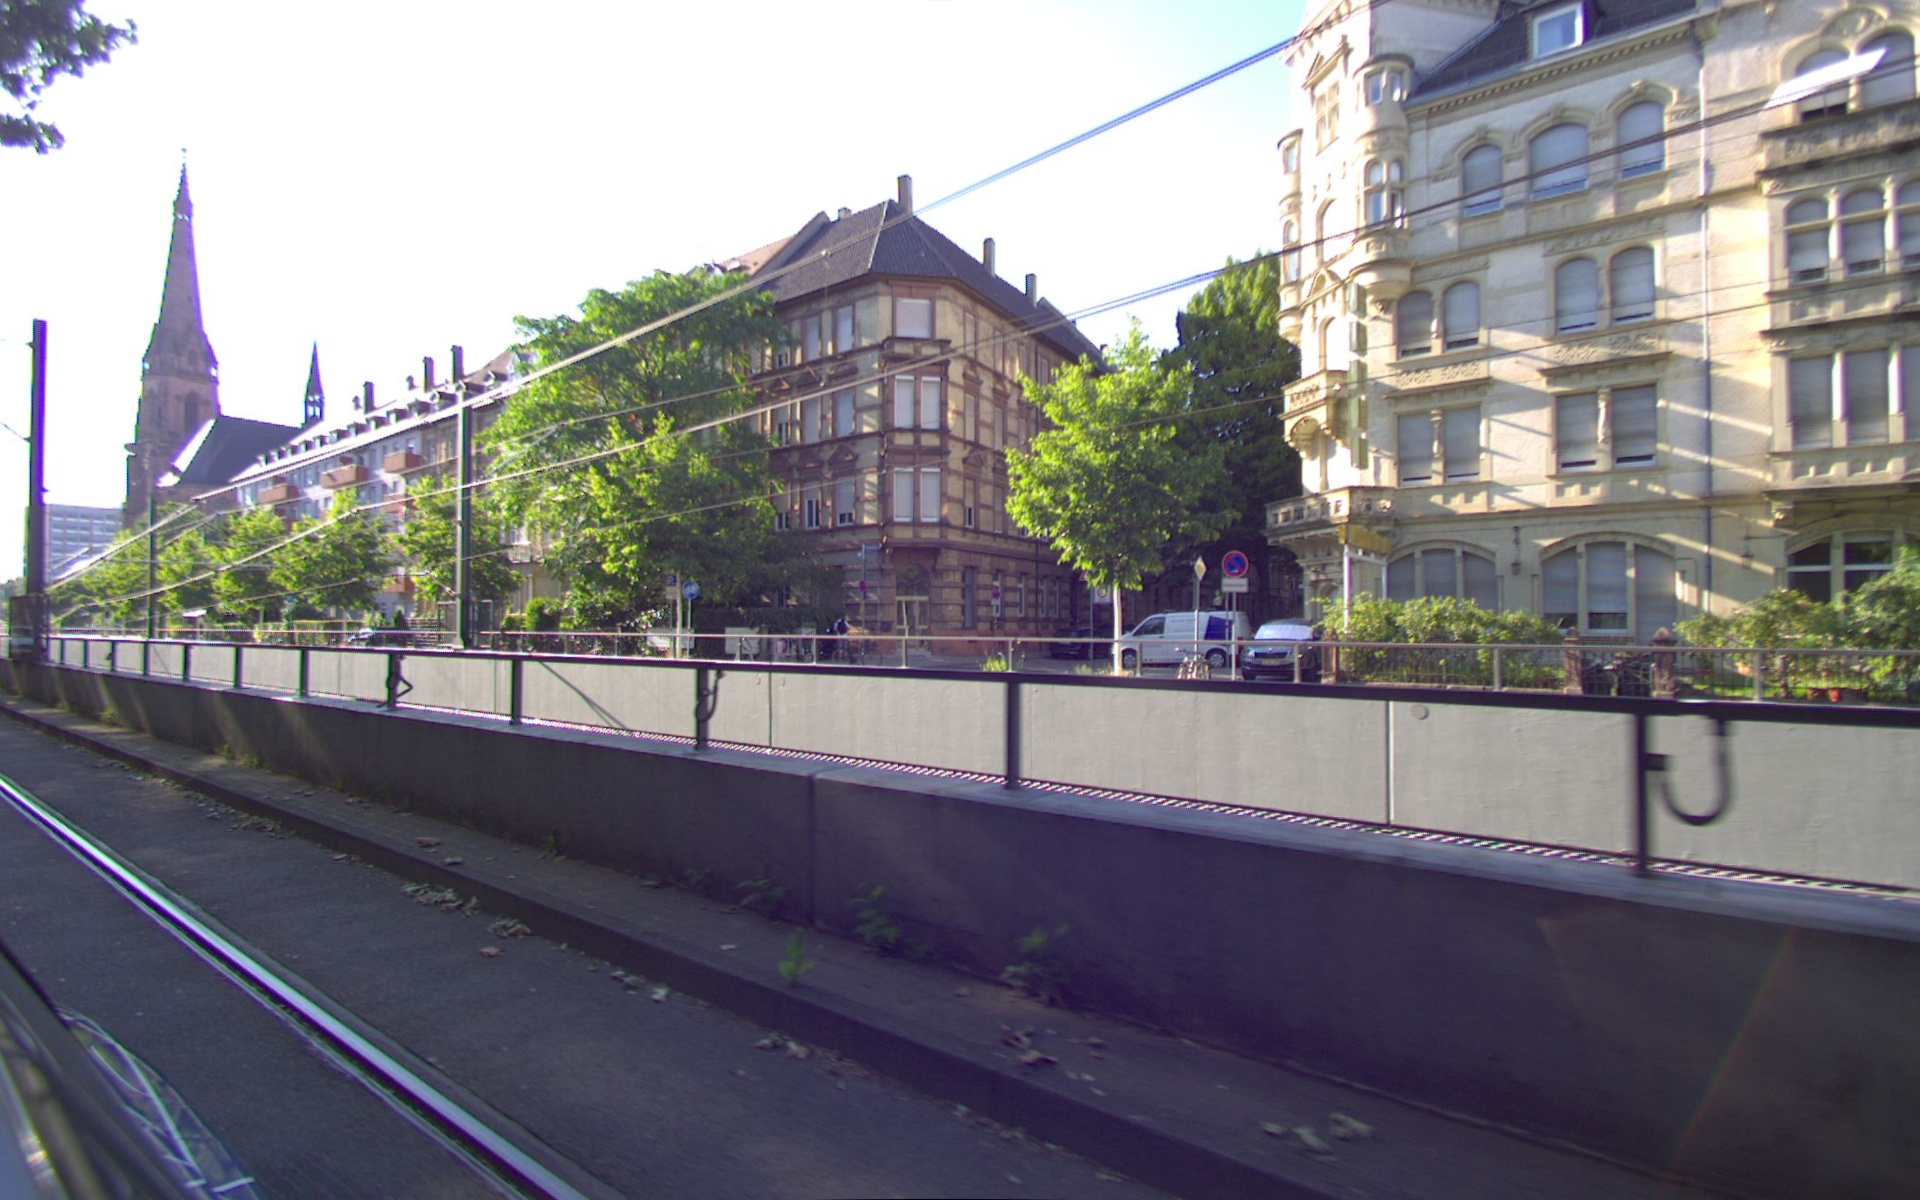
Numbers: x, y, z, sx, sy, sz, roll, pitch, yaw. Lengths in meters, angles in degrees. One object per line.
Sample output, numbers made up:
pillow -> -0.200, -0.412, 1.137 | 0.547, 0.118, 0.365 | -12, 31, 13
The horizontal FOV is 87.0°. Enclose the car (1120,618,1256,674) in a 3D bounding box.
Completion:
car -> 8.352, 1.685, 37.173 | 4.460, 1.863, 1.981 | -2, 0, 29

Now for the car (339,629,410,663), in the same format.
car -> -30.464, 2.355, 52.610 | 3.995, 1.597, 1.815 | -2, 0, 38

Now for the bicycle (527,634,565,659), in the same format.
bicycle -> -18.987, 2.111, 46.391 | 2.374, 1.107, 0.549 | -2, 0, 40

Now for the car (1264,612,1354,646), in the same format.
car -> 21.050, 1.753, 61.165 | 4.876, 1.860, 1.856 | -2, 0, 29

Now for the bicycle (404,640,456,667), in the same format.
bicycle -> -24.818, 2.487, 47.427 | 0.635, 1.107, 2.780 | -2, 0, 7

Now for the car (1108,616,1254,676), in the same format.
car -> 7.508, 1.554, 34.492 | 4.460, 1.863, 1.981 | -2, 0, 29

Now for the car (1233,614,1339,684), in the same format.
car -> 8.766, 1.250, 27.041 | 1.819, 1.636, 3.958 | -2, -1, 31

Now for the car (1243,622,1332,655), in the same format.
car -> 17.334, 2.054, 53.624 | 4.195, 1.618, 1.856 | -2, 0, 29

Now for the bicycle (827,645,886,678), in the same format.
bicycle -> -3.479, 2.053, 34.006 | 1.922, 1.012, 0.454 | 1, 1, 10

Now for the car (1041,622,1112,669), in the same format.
car -> 5.383, 2.064, 46.308 | 1.988, 1.863, 4.411 | -2, 0, 24

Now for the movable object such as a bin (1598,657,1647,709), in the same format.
movable object such as a bin -> 13.172, 1.633, 20.124 | 0.782, 0.926, 0.889 | -2, 0, 35

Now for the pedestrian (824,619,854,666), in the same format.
pedestrian -> -4.550, 1.579, 38.072 | 0.710, 1.701, 0.865 | -2, 0, -44

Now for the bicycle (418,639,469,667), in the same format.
bicycle -> -24.134, 2.463, 47.367 | 0.635, 1.107, 2.780 | -2, 0, 7

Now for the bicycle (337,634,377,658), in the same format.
bicycle -> -32.938, 2.513, 55.301 | 0.562, 1.187, 1.789 | -2, 0, 42
